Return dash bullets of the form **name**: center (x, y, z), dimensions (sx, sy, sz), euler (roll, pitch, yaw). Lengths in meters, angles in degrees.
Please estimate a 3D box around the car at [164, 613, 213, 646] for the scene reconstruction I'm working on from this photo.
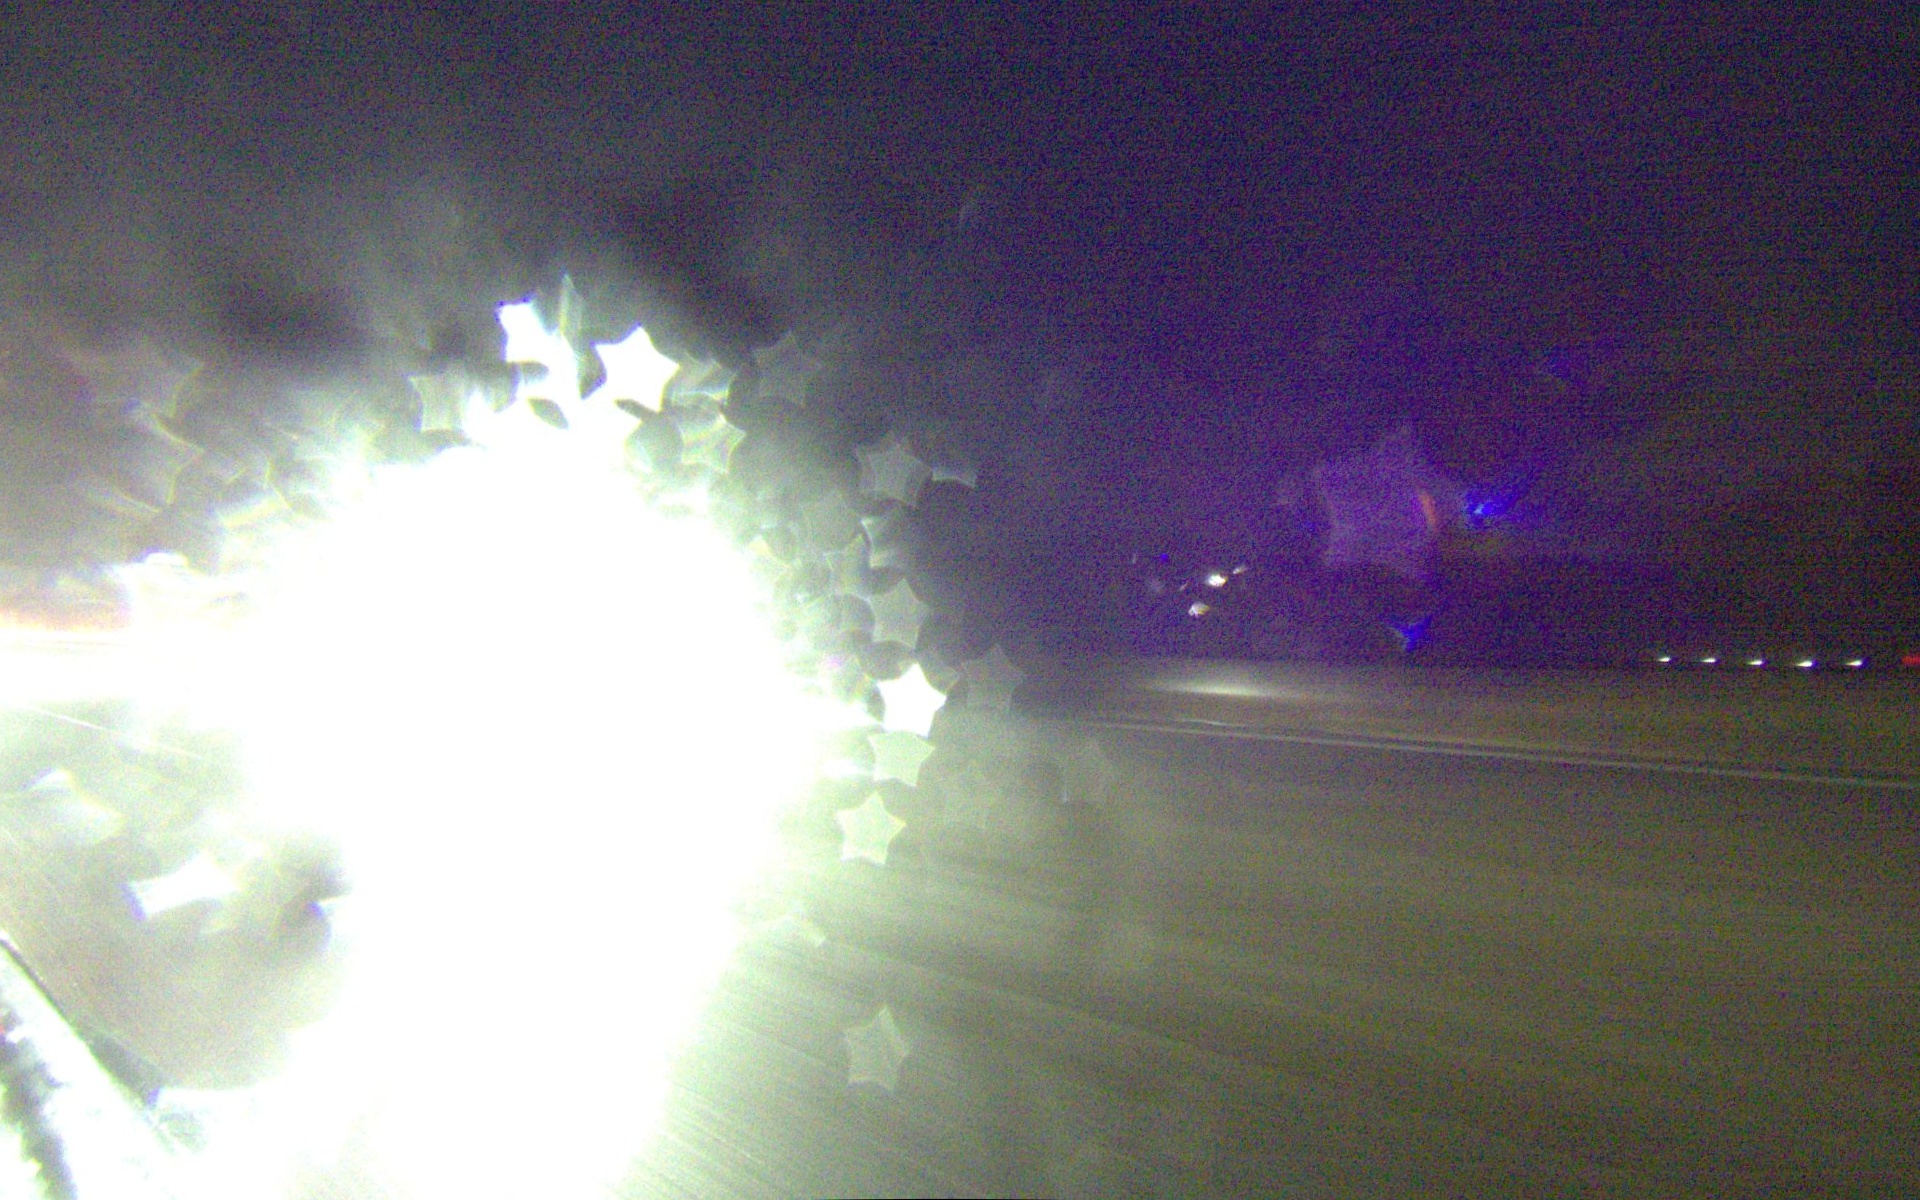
- **car**: center (-57.874, 2.182, 75.921), dimensions (4.842, 2.419, 1.949), euler (-1, 0, 41)

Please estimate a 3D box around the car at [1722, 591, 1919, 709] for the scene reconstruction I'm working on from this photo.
- **car**: center (14.365, 0.722, 15.417), dimensions (4.342, 1.685, 1.974), euler (-1, 0, 39)

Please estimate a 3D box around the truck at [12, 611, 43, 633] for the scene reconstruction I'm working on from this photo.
- **truck**: center (-133.423, 3.186, 144.825), dimensions (6.696, 3.022, 2.426), euler (-1, 0, 40)

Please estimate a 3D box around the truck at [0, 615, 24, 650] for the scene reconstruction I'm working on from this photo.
- **truck**: center (-183.141, 6.105, 194.022), dimensions (17.289, 6.460, 3.190), euler (-1, 0, 40)

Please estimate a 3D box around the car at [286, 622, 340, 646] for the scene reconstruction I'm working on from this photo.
- **car**: center (-44.053, 2.261, 68.893), dimensions (4.344, 1.529, 1.788), euler (-1, 0, 39)

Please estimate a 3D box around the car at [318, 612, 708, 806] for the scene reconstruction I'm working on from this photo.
- **car**: center (-4.370, 0.870, 9.590), dimensions (4.241, 1.441, 1.640), euler (-2, -1, 39)

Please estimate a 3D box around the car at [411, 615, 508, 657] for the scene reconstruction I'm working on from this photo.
- **car**: center (-19.852, 1.383, 40.072), dimensions (4.344, 1.529, 1.788), euler (-1, 0, 39)

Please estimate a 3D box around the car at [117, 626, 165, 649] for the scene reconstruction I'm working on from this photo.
- **car**: center (-55.603, 2.527, 68.680), dimensions (4.670, 1.405, 1.734), euler (-1, 0, 41)

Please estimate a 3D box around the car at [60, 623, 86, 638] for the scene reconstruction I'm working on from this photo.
- **car**: center (-105.685, 3.653, 120.569), dimensions (3.884, 1.685, 1.745), euler (-1, 0, 40)
